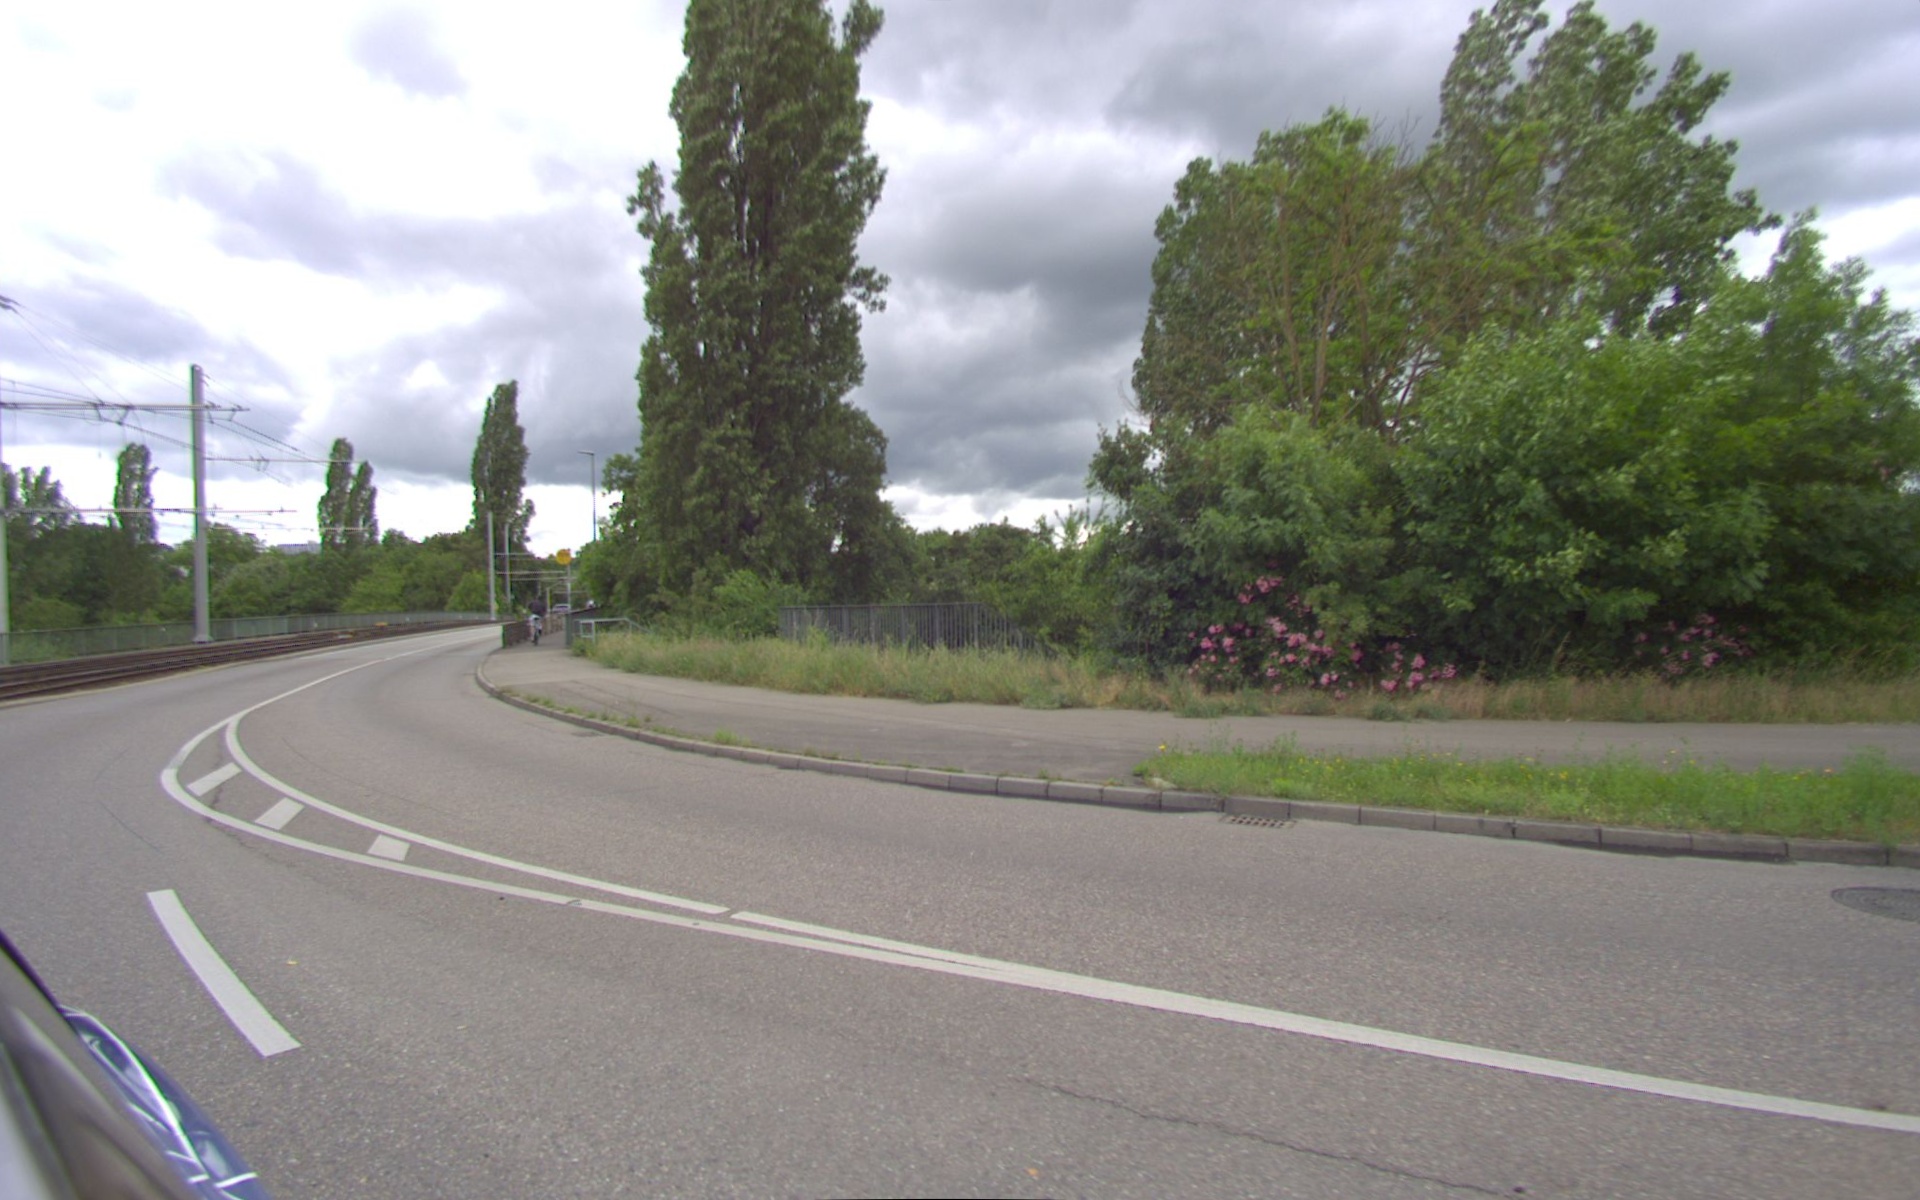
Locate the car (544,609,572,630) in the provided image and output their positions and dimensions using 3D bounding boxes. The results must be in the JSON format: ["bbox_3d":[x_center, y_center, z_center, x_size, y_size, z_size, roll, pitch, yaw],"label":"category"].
[{"bbox_3d":[-29.369,1.420,74.018,1.692,1.479,3.954,1,0,-19],"label":"car"}]

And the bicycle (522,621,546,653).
[{"bbox_3d":[-15.605,1.348,37.068,0.725,1.080,1.888,-3,1,-23],"label":"bicycle"}]

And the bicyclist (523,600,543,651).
[{"bbox_3d":[-15.642,0.918,37.083,0.618,1.822,0.904,-3,1,-22],"label":"bicyclist"}]

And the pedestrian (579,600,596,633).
[{"bbox_3d":[-21.654,0.942,58.829,0.769,1.841,0.728,-2,1,-14],"label":"pedestrian"}]
